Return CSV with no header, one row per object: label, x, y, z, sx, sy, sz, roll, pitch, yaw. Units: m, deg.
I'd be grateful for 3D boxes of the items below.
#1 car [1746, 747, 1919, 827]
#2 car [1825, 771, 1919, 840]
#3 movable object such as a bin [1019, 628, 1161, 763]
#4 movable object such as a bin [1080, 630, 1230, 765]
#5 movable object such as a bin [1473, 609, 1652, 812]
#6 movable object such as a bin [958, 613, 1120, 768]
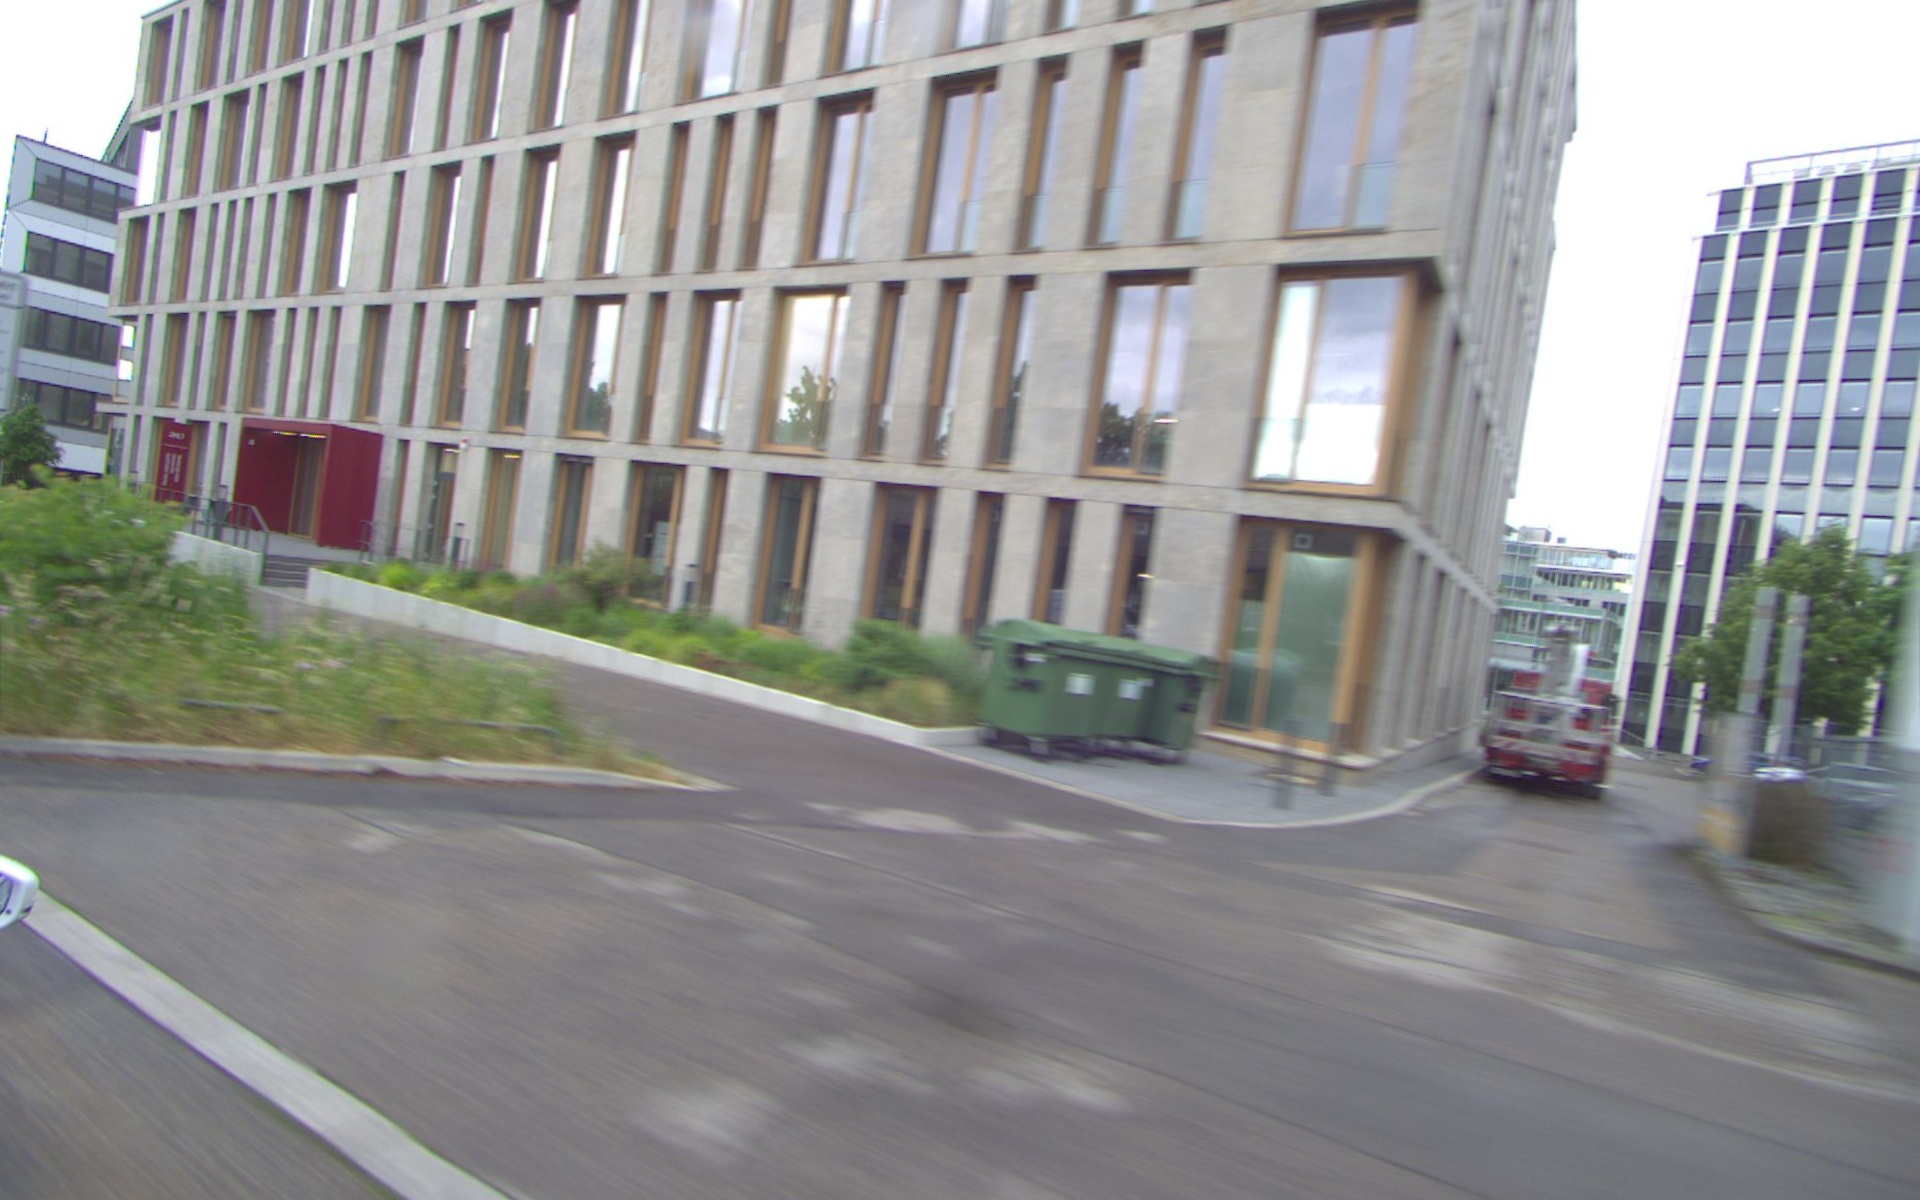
car,27.035,5.736,31.140,3.933,1.637,1.774,6,-2,31
car,24.195,5.284,24.782,4.055,1.307,1.629,6,-2,31
movable object such as a bin,1.598,1.167,12.283,1.134,1.414,1.098,6,-4,41
movable object such as a bin,2.551,1.264,13.145,1.368,1.521,1.195,6,-2,40
movable object such as a bin,12.984,2.348,21.906,2.584,3.486,6.367,7,-2,30
movable object such as a bin,0.891,1.007,11.184,1.096,1.473,1.247,6,-5,42
